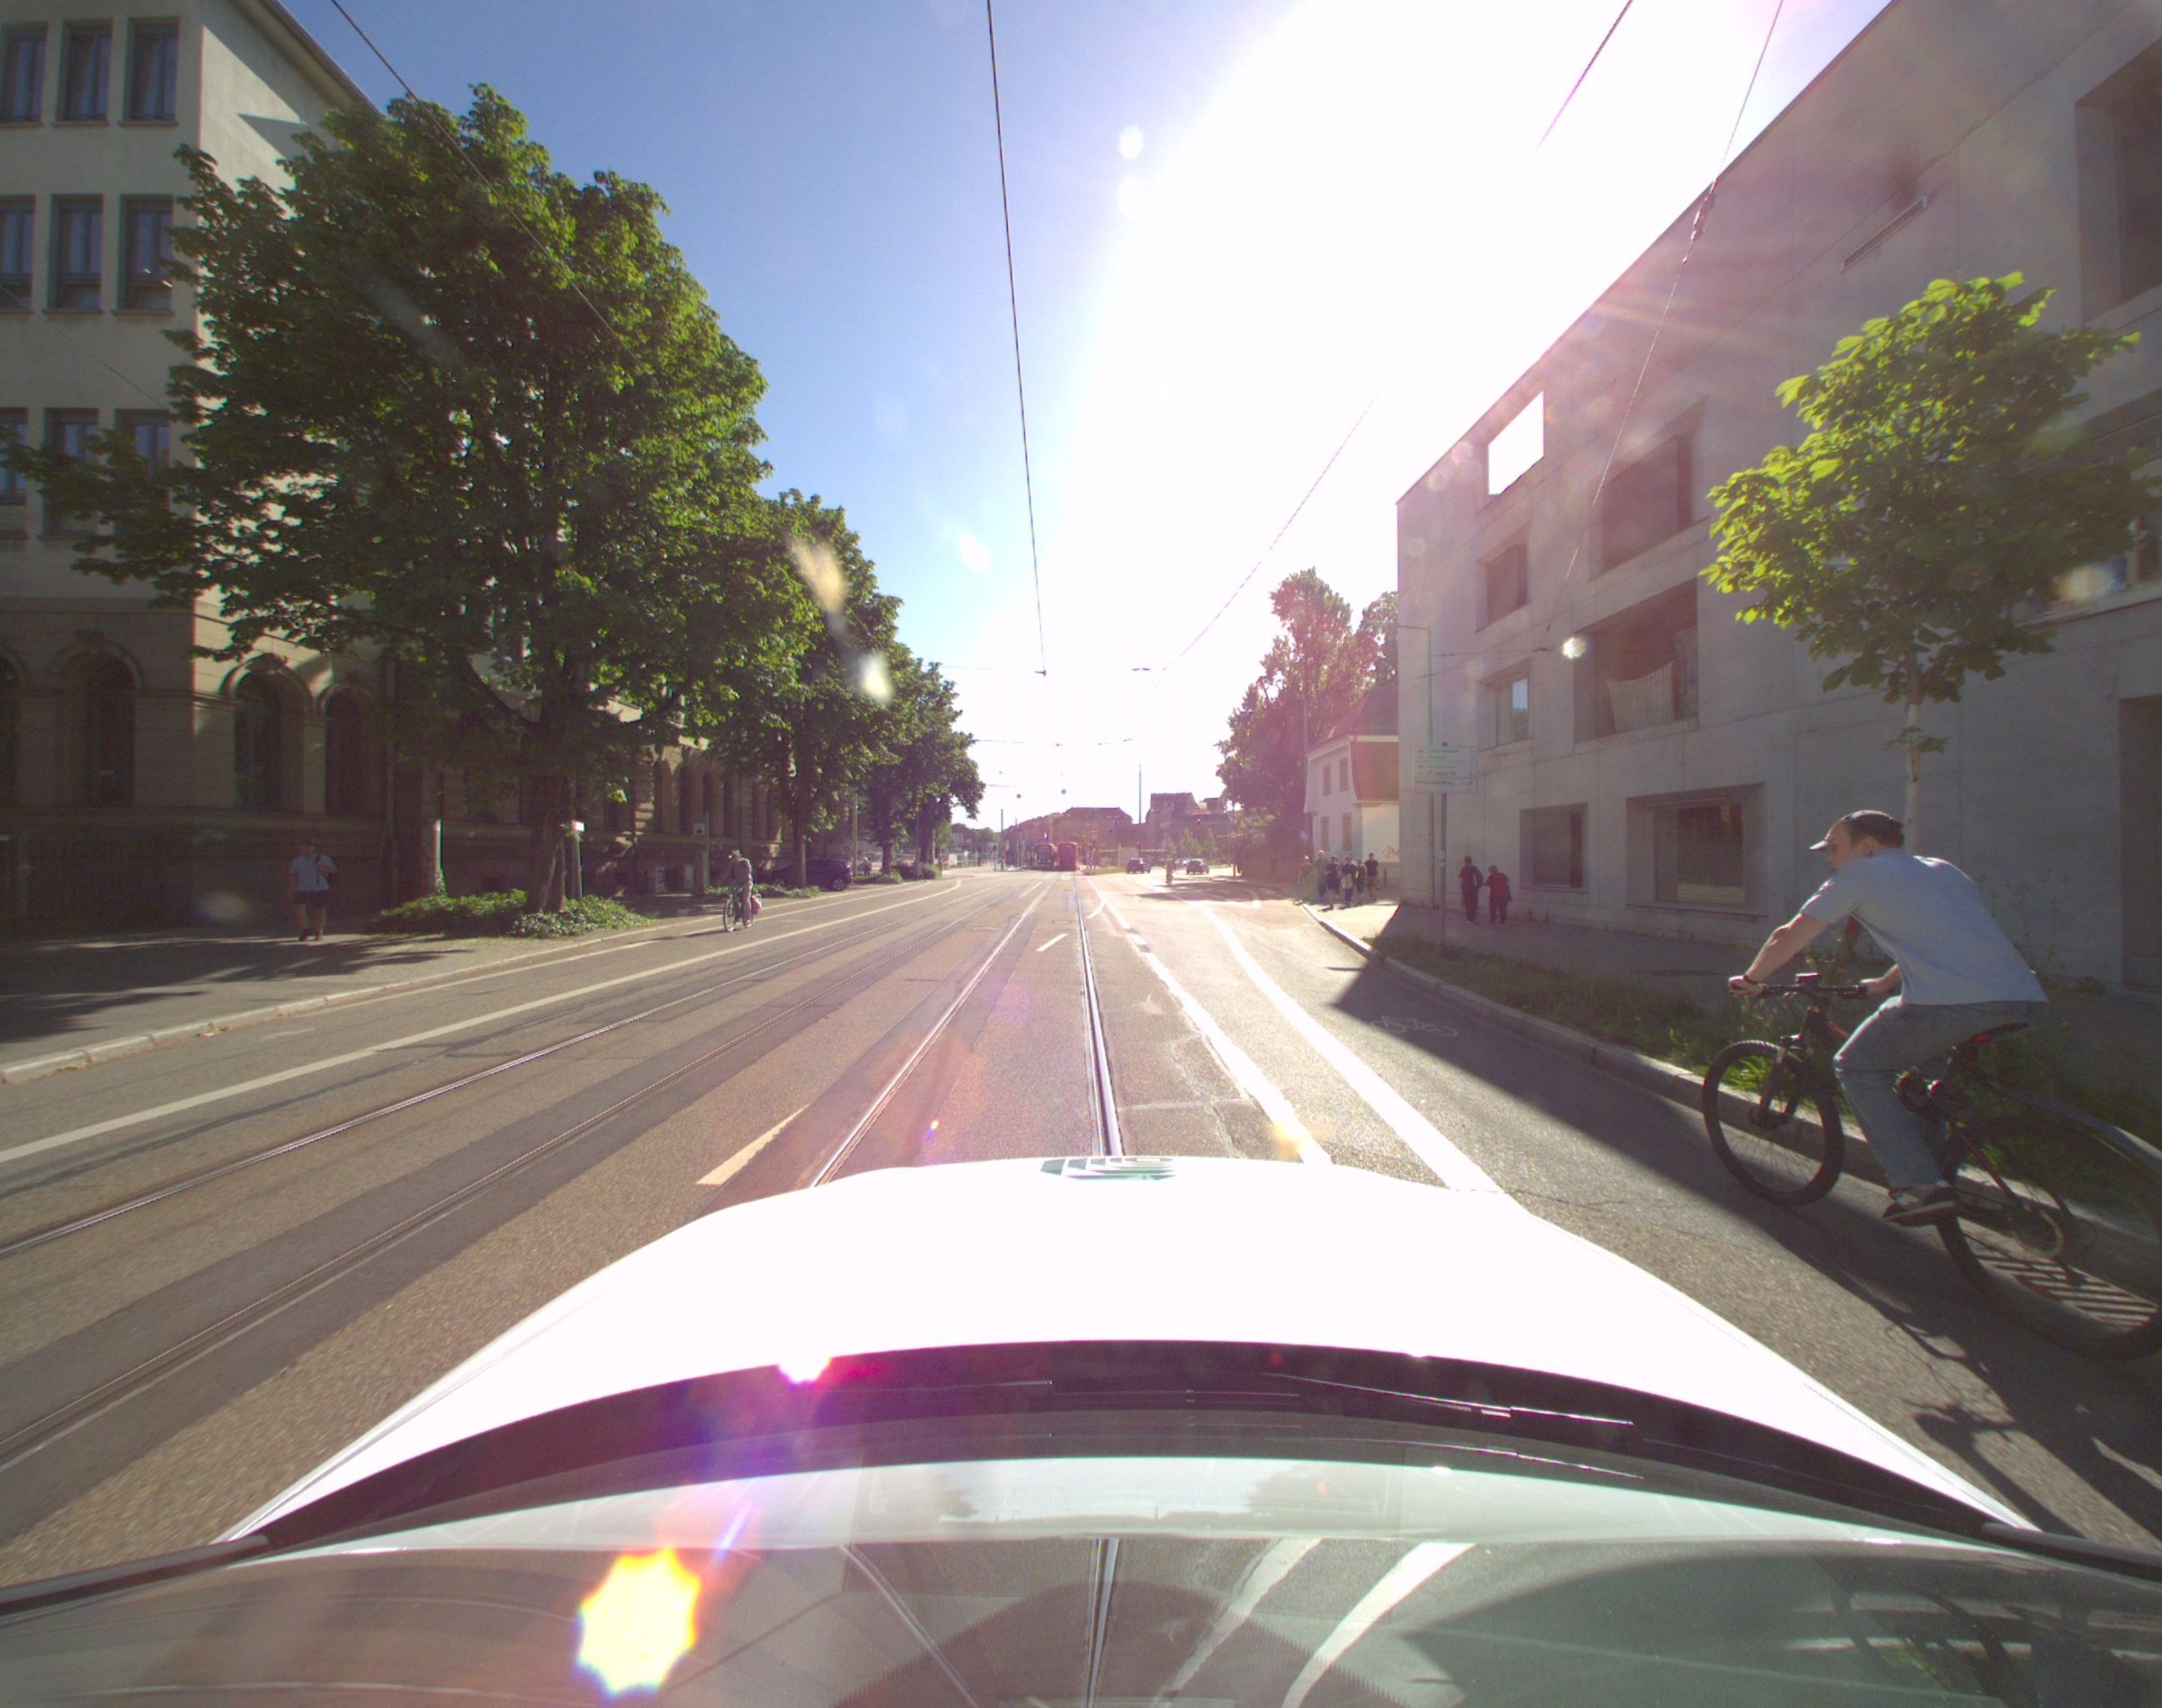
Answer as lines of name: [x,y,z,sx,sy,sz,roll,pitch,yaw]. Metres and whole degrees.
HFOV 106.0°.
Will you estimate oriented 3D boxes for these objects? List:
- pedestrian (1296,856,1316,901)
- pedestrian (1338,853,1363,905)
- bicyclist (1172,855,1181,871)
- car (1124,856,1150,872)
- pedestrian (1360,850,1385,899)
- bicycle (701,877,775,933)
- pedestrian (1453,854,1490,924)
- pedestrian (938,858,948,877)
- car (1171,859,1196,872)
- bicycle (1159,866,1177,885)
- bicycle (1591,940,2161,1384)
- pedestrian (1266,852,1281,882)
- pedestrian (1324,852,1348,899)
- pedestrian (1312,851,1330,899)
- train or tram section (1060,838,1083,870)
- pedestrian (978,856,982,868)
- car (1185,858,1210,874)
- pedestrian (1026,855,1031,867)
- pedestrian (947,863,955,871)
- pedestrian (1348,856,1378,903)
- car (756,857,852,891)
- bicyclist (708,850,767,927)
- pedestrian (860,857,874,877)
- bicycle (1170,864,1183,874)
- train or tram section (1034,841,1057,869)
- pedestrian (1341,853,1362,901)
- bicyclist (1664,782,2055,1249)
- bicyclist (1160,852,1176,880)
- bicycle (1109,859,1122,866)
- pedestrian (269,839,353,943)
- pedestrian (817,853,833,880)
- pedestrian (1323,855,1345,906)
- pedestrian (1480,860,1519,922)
pedestrian: [9.027,0.958,32.685,0.603,1.746,0.719,-4,-1,7]
pedestrian: [9.516,0.870,28.820,0.643,1.763,0.959,-5,-1,14]
bicyclist: [10.188,0.988,86.776,0.698,1.700,0.992,2,1,24]
car: [5.837,1.038,83.890,1.775,1.604,3.730,1,0,18]
pedestrian: [11.074,0.762,30.952,0.653,1.802,0.733,-4,-1,7]
bicycle: [-7.593,1.105,18.123,0.684,1.124,1.933,-2,-1,3]
pedestrian: [9.170,0.806,19.126,0.515,1.600,0.765,0,-1,2]
pedestrian: [-12.252,1.199,72.202,0.639,1.697,0.812,-1,-1,-25]
car: [13.408,1.515,106.454,1.685,1.643,3.736,1,0,34]
bicycle: [5.299,1.313,49.758,0.699,1.104,1.725,2,0,19]
bicycle: [3.186,1.026,3.469,0.736,1.094,2.111,1,0,1]
pedestrian: [12.332,0.837,52.224,0.635,1.904,1.134,-2,0,0]
pedestrian: [10.016,0.857,32.033,0.523,1.774,0.740,-5,-1,40]
pedestrian: [9.629,0.834,32.676,0.516,1.902,0.613,-4,-1,7]
train or tram section: [-1.245,-0.020,102.234,2.734,3.651,13.777,0,0,-1]
pedestrian: [-17.752,1.416,142.877,0.523,2.014,0.522,0,-1,3]
car: [12.224,1.241,85.283,1.773,1.511,3.732,1,0,22]
pedestrian: [-7.879,1.006,121.820,0.625,1.827,0.662,0,-1,-2]
pedestrian: [-17.233,1.743,108.111,0.895,1.046,0.655,0,-1,0]
pedestrian: [10.245,0.922,29.629,0.823,1.604,0.897,-5,-1,14]
car: [-13.019,0.938,38.301,4.010,1.550,1.860,1,-1,-28]
bicyclist: [-7.607,0.744,18.107,0.684,1.644,1.238,-2,-1,3]
pedestrian: [-15.834,0.964,60.234,0.924,1.504,0.700,0,-1,-23]
bicycle: [10.224,1.573,86.908,0.698,1.055,2.326,2,1,24]
train or tram section: [-4.721,0.131,110.566,2.734,3.651,13.777,0,0,-1]
pedestrian: [10.519,0.891,31.717,0.605,1.774,0.656,-5,-1,15]
bicyclist: [3.197,0.591,3.465,0.736,1.686,0.972,1,-1,1]
bicyclist: [5.316,0.710,49.757,0.699,1.675,1.106,2,0,19]
bicycle: [5.389,1.371,126.987,1.929,1.103,0.598,0,0,-4]
pedestrian: [-13.921,0.657,14.752,0.730,1.797,0.776,3,-1,-15]
pedestrian: [-15.554,0.753,49.453,0.698,1.635,0.759,2,-1,-1]
pedestrian: [8.939,0.933,28.805,0.492,1.728,0.817,-4,-1,6]
pedestrian: [9.761,0.849,19.003,0.515,1.404,0.765,0,-1,2]
